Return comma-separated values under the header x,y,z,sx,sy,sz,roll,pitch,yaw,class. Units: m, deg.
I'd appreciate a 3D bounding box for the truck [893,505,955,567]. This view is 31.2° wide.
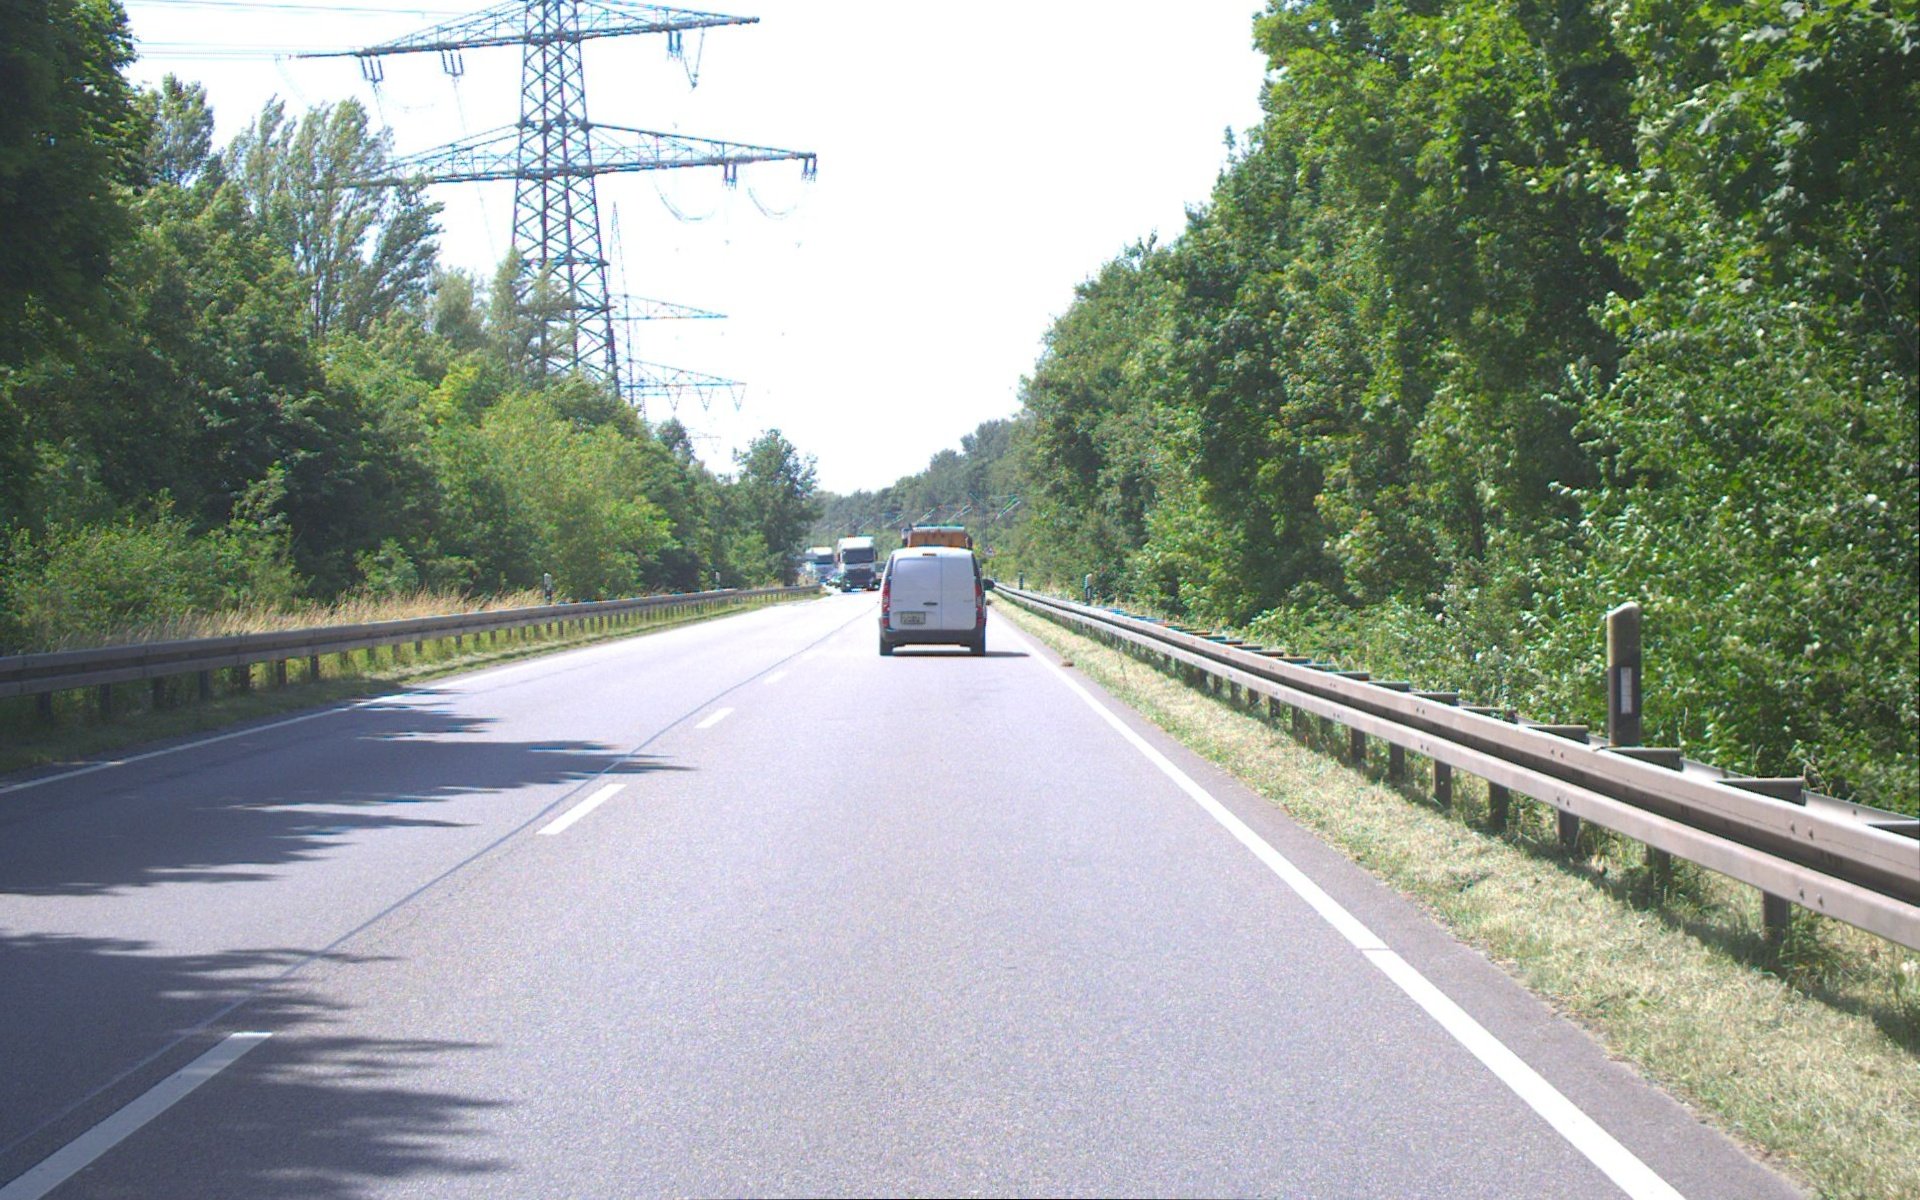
x,y,z,sx,sy,sz,roll,pitch,yaw,class
-2.437,-4.210,222.911,3.402,3.841,16.820,0,2,-3,truck

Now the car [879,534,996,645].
x,y,z,sx,sy,sz,roll,pitch,yaw,class
-0.378,-0.203,57.536,1.875,1.735,4.000,1,2,-1,car

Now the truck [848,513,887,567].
x,y,z,sx,sy,sz,roll,pitch,yaw,class
-6.900,-4.453,258.014,2.763,3.986,5.907,1,0,0,truck

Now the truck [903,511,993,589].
x,y,z,sx,sy,sz,roll,pitch,yaw,class
-0.616,-2.241,148.879,3.296,3.161,14.407,0,2,-3,truck
